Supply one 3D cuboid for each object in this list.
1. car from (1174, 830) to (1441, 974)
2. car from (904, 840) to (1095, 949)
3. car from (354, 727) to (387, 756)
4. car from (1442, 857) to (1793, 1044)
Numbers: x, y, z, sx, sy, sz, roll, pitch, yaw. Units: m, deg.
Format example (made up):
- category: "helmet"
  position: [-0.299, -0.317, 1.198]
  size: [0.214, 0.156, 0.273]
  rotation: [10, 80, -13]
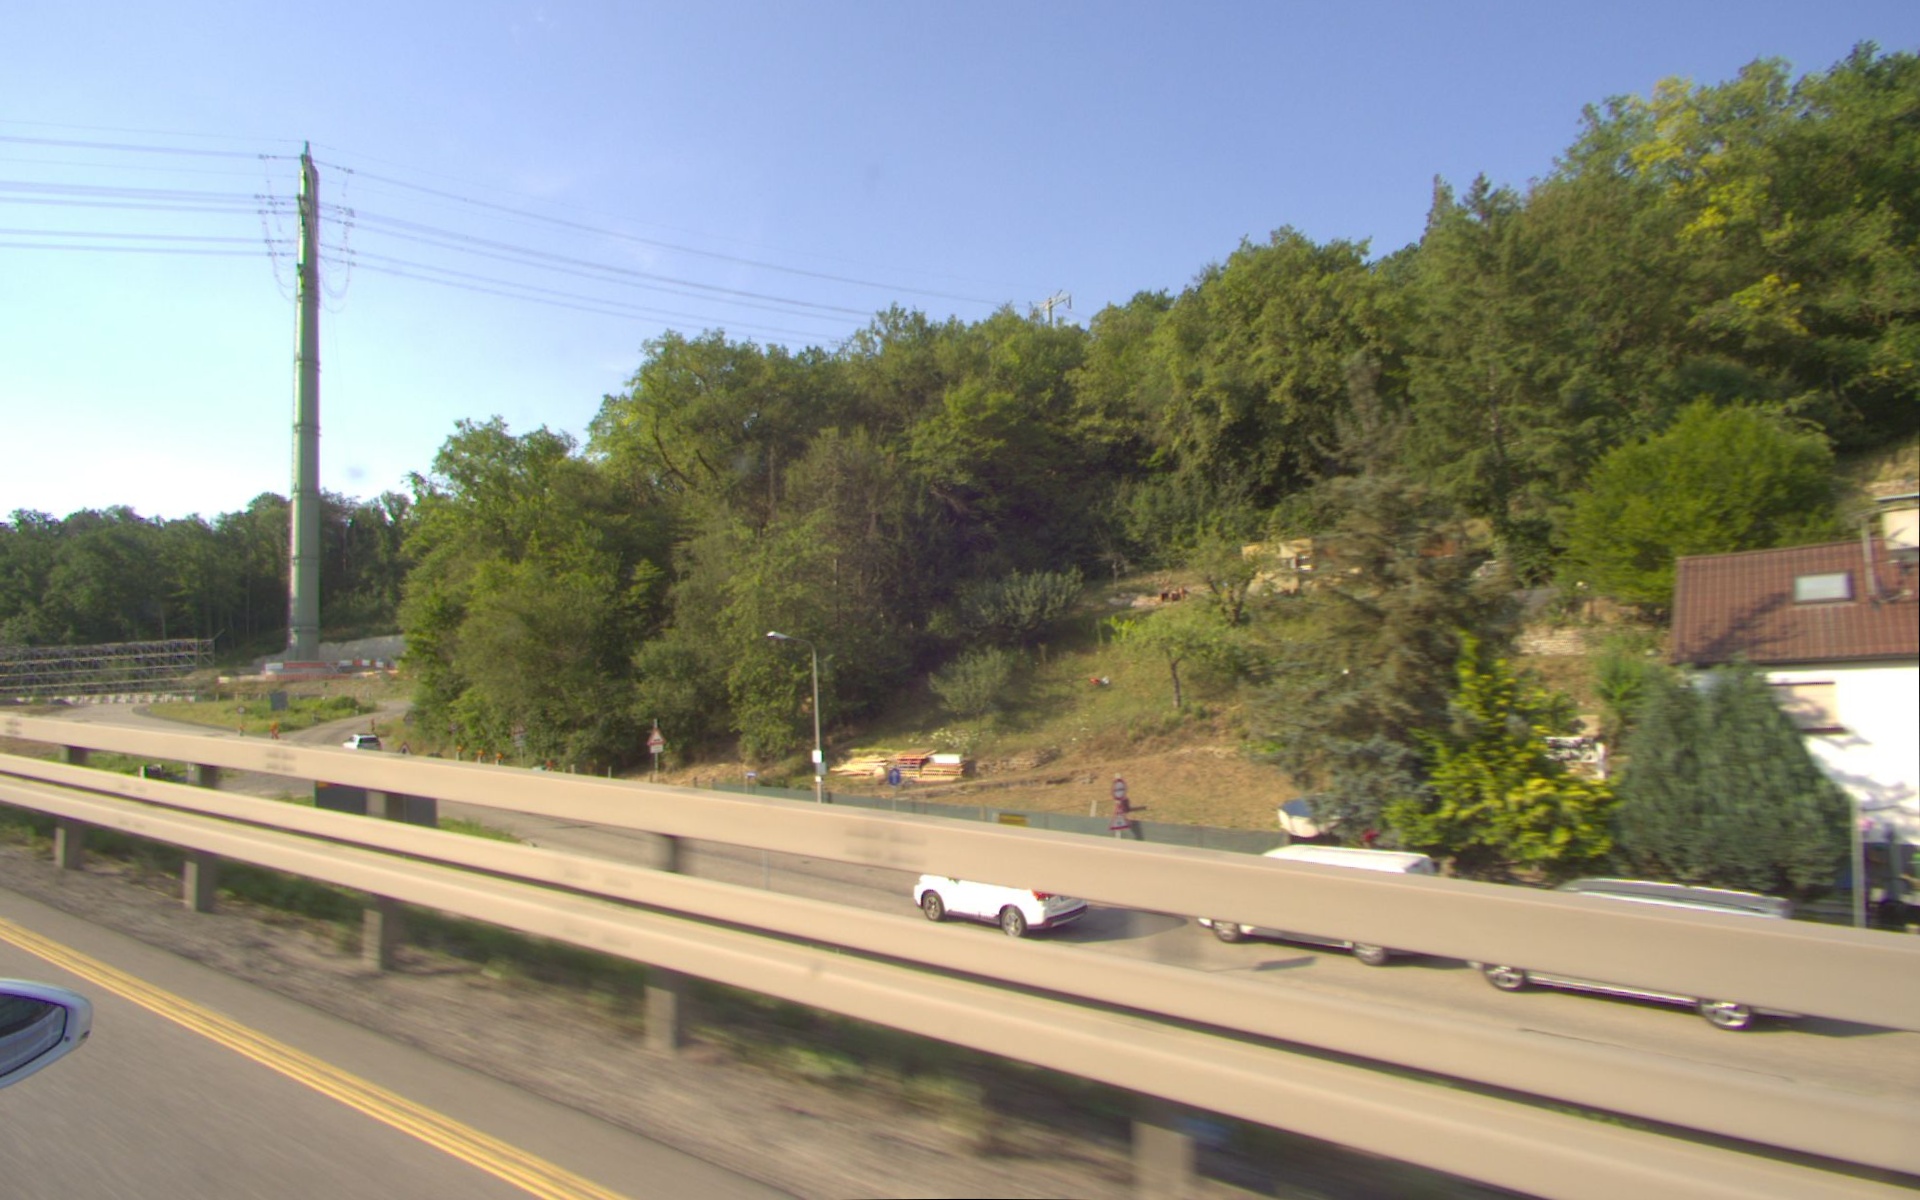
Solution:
- category: "car"
  position: [7.279, 6.264, 21.333]
  size: [4.997, 2.010, 1.854]
  rotation: [-5, -4, 40]
- category: "car"
  position: [0.865, 6.866, 23.747]
  size: [4.423, 1.682, 1.660]
  rotation: [-5, -4, 41]
- category: "car"
  position: [-39.937, 9.576, 67.890]
  size: [1.506, 1.479, 4.254]
  rotation: [0, -2, -25]
- category: "car"
  position: [11.346, 5.906, 17.532]
  size: [4.814, 1.940, 1.985]
  rotation: [-5, -4, 43]
